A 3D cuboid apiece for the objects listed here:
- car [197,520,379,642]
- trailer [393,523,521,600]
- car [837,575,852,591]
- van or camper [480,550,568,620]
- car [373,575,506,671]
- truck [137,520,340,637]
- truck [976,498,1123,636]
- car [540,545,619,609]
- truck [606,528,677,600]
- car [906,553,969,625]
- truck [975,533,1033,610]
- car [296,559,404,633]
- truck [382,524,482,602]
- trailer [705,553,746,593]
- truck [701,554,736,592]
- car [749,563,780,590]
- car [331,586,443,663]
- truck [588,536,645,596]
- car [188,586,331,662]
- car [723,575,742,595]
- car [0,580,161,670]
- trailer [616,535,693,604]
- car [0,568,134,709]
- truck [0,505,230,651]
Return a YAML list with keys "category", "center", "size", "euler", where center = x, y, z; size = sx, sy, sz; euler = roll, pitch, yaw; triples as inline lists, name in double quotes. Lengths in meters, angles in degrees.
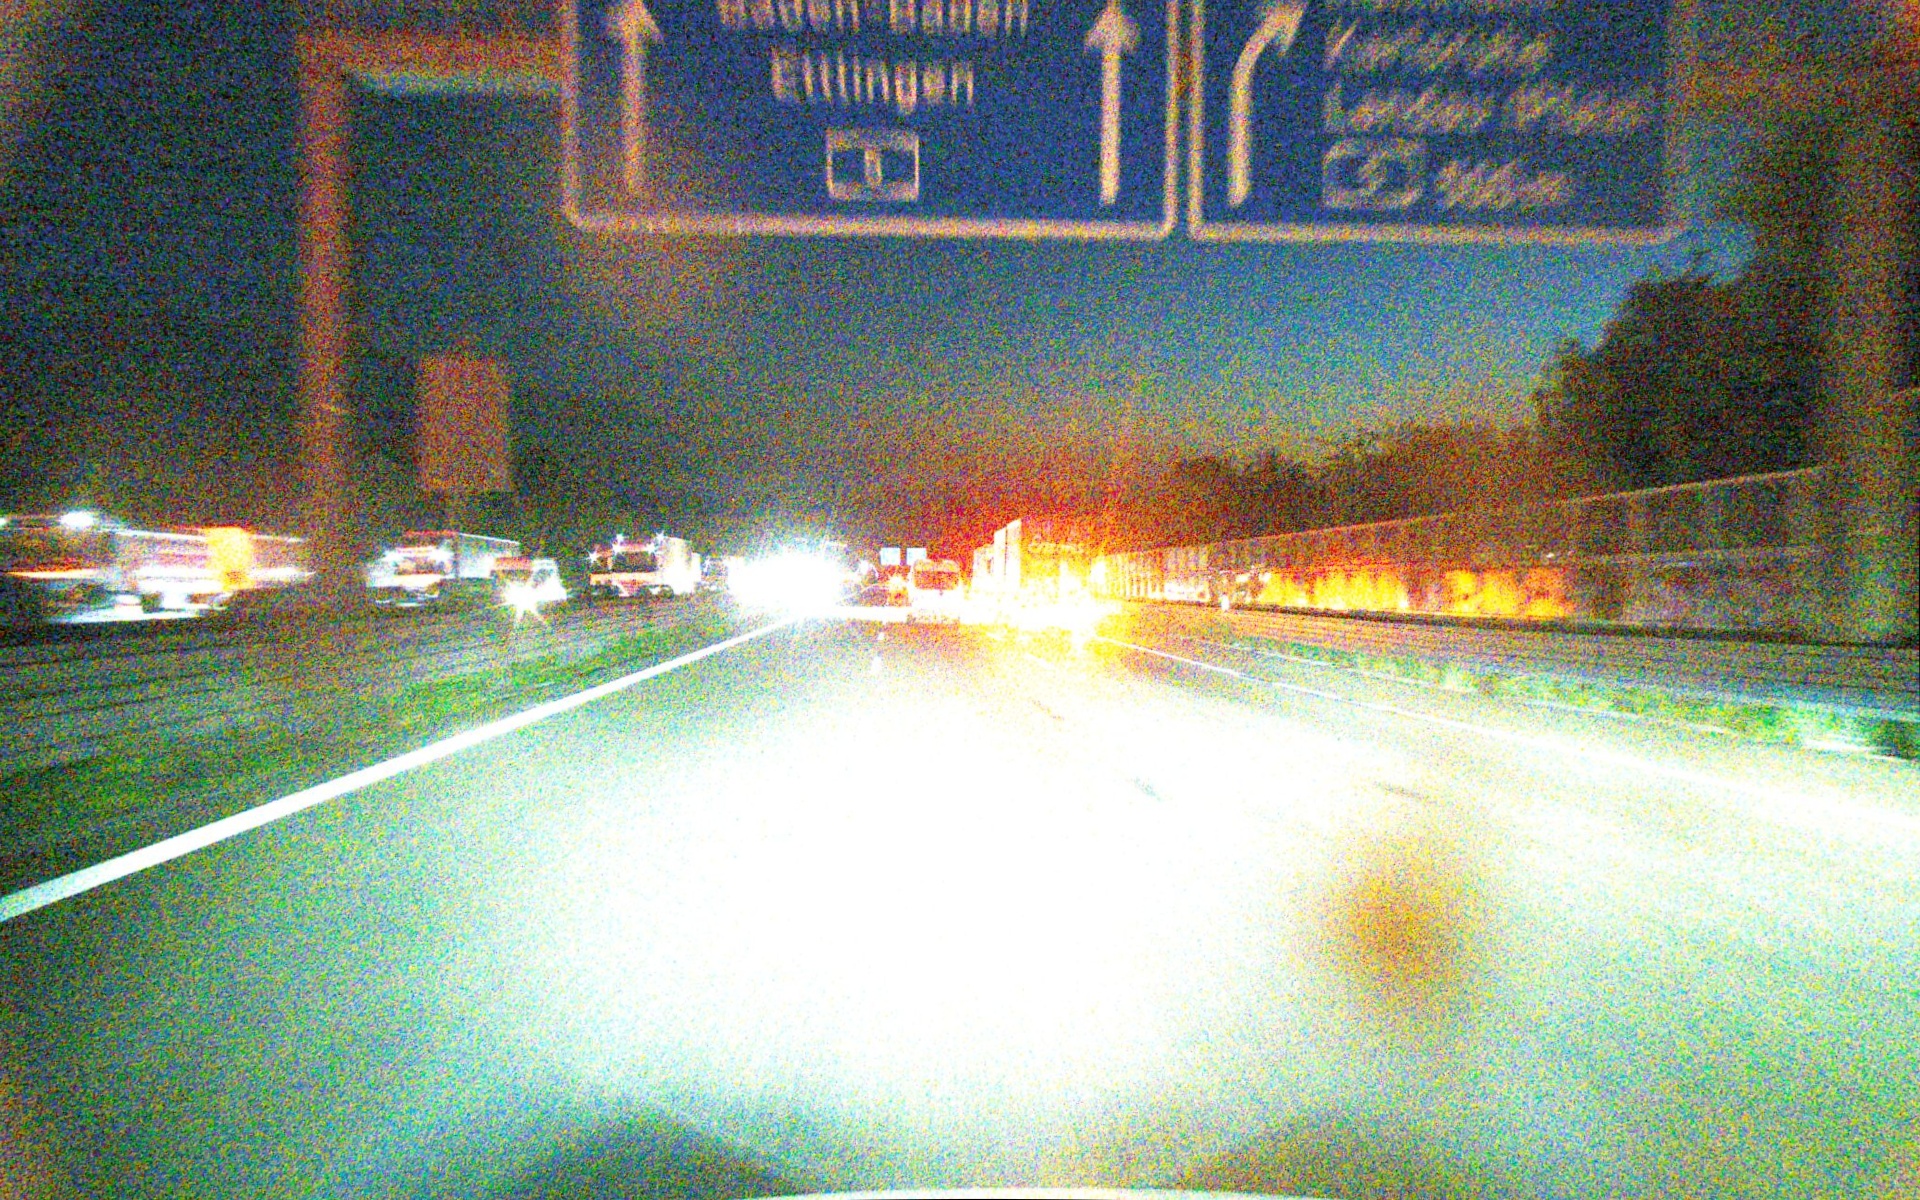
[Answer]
- category: "car"
  center: [-12.363, -0.324, 30.698]
  size: [1.955, 2.049, 3.996]
  euler: [2, 0, -5]
- category: "trailer"
  center: [-25.432, -1.878, 84.421]
  size: [2.900, 3.502, 13.431]
  euler: [1, 1, -2]
- category: "car"
  center: [-15.476, -2.272, 221.447]
  size: [1.955, 2.049, 3.995]
  euler: [0, 0, -6]
- category: "van or camper"
  center: [-17.517, -0.611, 66.847]
  size: [2.043, 2.678, 7.598]
  euler: [0, 1, -4]
- category: "car"
  center: [-12.037, 0.522, 38.521]
  size: [1.954, 2.049, 3.997]
  euler: [2, 0, -4]
- category: "truck"
  center: [-20.156, -0.531, 46.744]
  size: [2.707, 3.038, 7.399]
  euler: [0, 0, -2]
- category: "truck"
  center: [3.227, -1.135, 68.298]
  size: [3.837, 4.708, 21.006]
  euler: [-2, 0, -3]
- category: "car"
  center: [-13.011, -0.753, 56.808]
  size: [1.954, 2.049, 3.997]
  euler: [2, 0, -4]
- category: "truck"
  center: [-17.723, -1.942, 92.436]
  size: [2.817, 3.738, 6.776]
  euler: [2, 0, -3]
- category: "car"
  center: [-0.816, -0.378, 64.437]
  size: [2.289, 2.686, 5.247]
  euler: [0, -1, 1]
- category: "truck"
  center: [2.706, -1.843, 106.753]
  size: [3.276, 4.554, 13.910]
  euler: [1, 1, 0]
- category: "car"
  center: [-24.578, -0.206, 66.955]
  size: [2.268, 2.765, 6.354]
  euler: [2, 1, -3]
- category: "truck"
  center: [-25.210, -1.741, 79.265]
  size: [2.900, 3.502, 6.359]
  euler: [1, 0, -3]
- category: "trailer"
  center: [-25.637, -2.866, 181.646]
  size: [2.827, 3.916, 15.061]
  euler: [2, 0, -2]
- category: "truck"
  center: [-25.281, -2.818, 173.273]
  size: [2.802, 3.751, 6.599]
  euler: [2, 0, -2]
- category: "car"
  center: [-16.298, -1.956, 137.829]
  size: [1.953, 2.049, 5.323]
  euler: [2, 0, -1]
- category: "car"
  center: [-16.434, 0.696, 47.648]
  size: [1.954, 2.049, 3.997]
  euler: [2, 0, -4]
- category: "truck"
  center: [-22.389, -2.194, 108.013]
  size: [2.818, 3.737, 6.045]
  euler: [1, 1, -5]
- category: "car"
  center: [-15.302, 0.506, 36.340]
  size: [1.665, 1.512, 3.973]
  euler: [2, 0, -5]
- category: "car"
  center: [-24.476, -1.617, 178.219]
  size: [1.955, 2.049, 3.995]
  euler: [0, 0, -6]
- category: "car"
  center: [-14.896, 0.363, 27.331]
  size: [1.538, 1.378, 3.999]
  euler: [0, 1, -2]
- category: "trailer"
  center: [-18.073, -1.693, 98.639]
  size: [2.828, 3.735, 12.208]
  euler: [2, 0, -3]
- category: "car"
  center: [-10.178, 0.369, 16.939]
  size: [1.539, 1.378, 3.999]
  euler: [0, 1, -2]
- category: "truck"
  center: [-19.687, -0.442, 38.274]
  size: [2.505, 3.038, 7.449]
  euler: [0, 0, -2]
